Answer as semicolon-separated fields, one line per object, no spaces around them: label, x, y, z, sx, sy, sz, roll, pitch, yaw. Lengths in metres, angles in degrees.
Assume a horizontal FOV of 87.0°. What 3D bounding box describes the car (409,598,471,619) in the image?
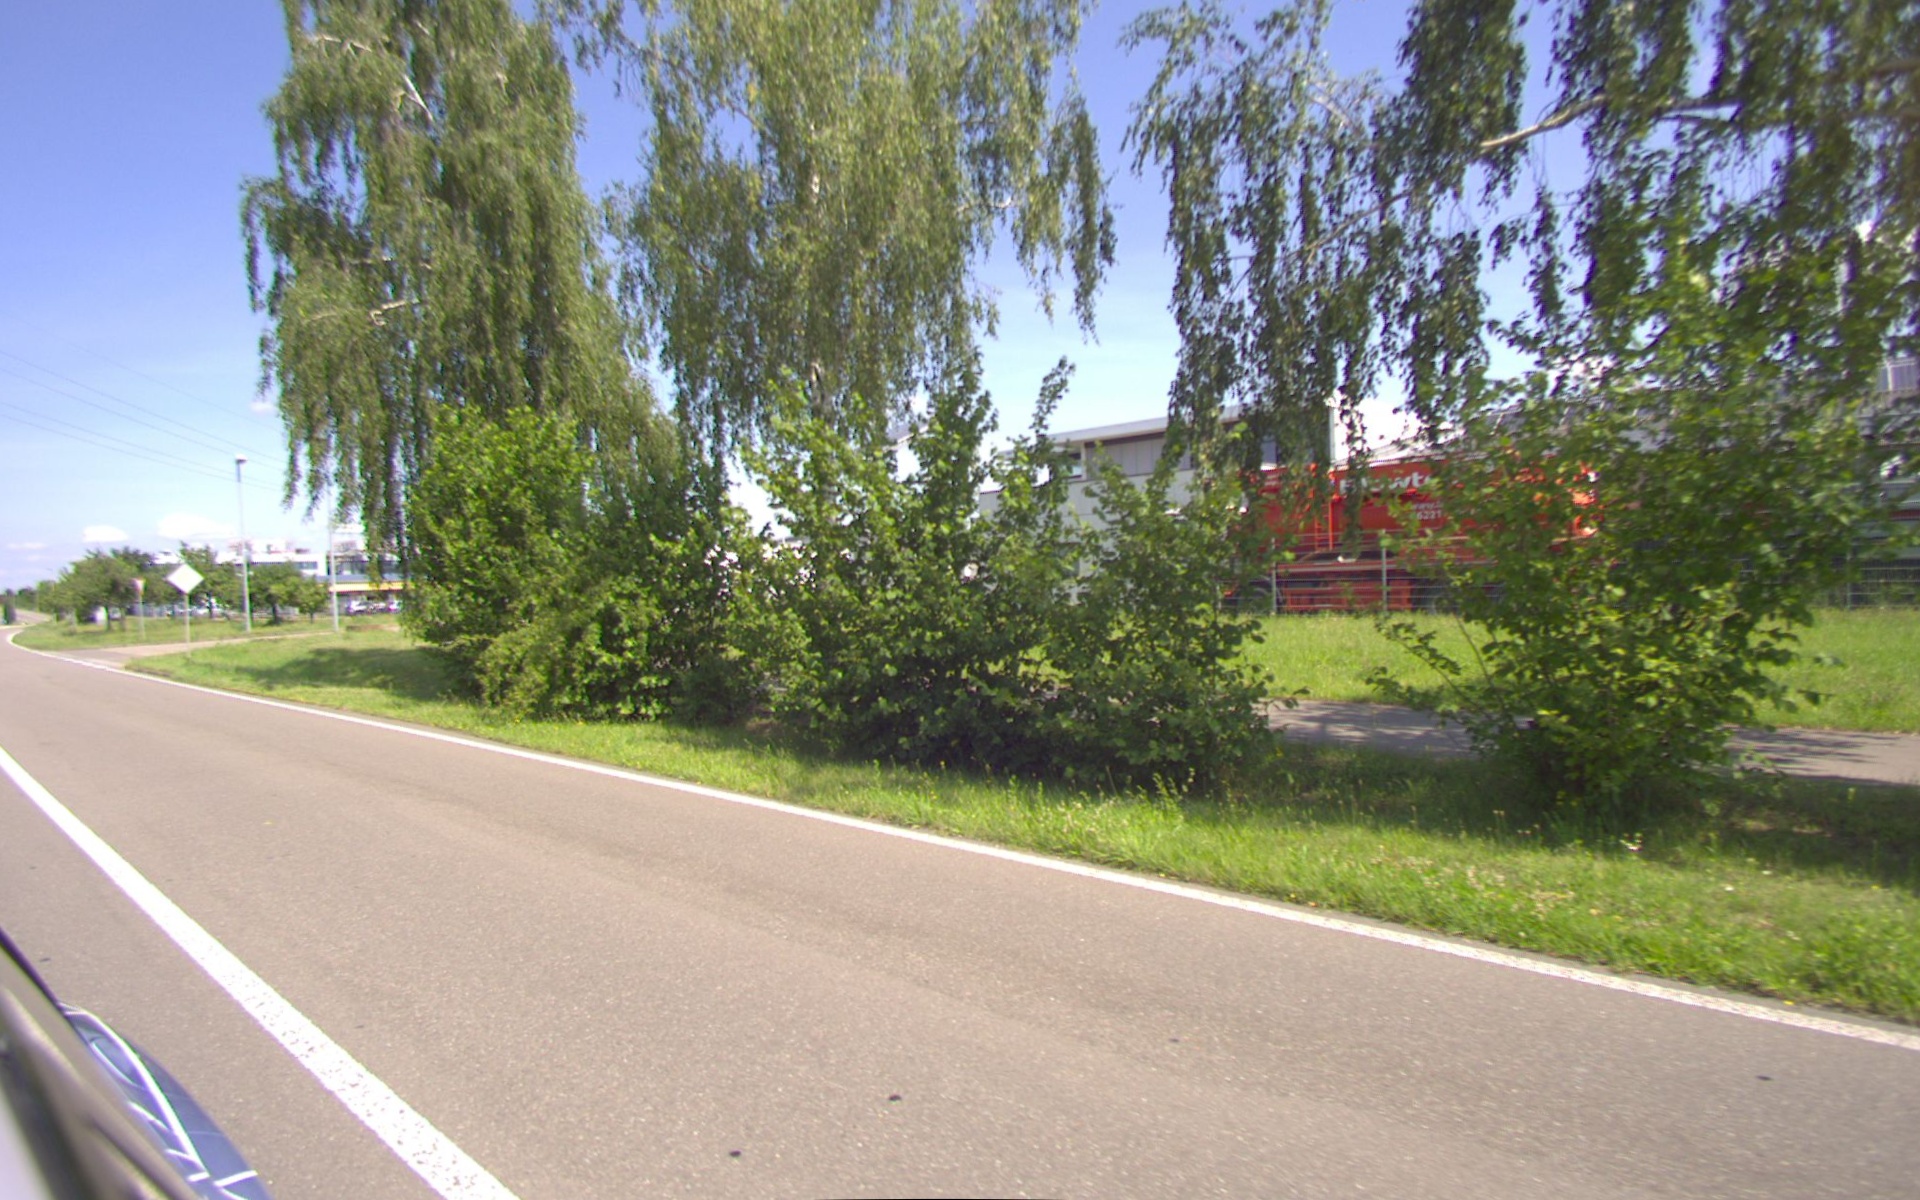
car;-43.274;0.702;84.242;1.870;1.656;4.166;-1;0;41

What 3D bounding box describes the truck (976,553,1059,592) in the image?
truck;4.909;-2.362;87.535;6.738;3.105;2.982;-1;0;40

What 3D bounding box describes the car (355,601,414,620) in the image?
car;-51.467;0.946;90.580;1.870;1.612;4.166;-1;0;41

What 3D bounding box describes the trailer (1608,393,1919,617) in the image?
trailer;19.068;-1.618;15.621;14.926;3.672;3.254;-1;0;43

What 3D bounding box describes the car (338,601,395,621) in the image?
car;-55.342;1.026;94.420;1.870;1.699;4.166;-1;0;41

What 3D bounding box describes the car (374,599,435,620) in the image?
car;-47.663;0.780;86.870;1.870;1.656;4.166;-1;0;41

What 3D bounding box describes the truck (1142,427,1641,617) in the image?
truck;9.749;-1.473;24.313;10.594;3.672;3.067;-1;0;43
